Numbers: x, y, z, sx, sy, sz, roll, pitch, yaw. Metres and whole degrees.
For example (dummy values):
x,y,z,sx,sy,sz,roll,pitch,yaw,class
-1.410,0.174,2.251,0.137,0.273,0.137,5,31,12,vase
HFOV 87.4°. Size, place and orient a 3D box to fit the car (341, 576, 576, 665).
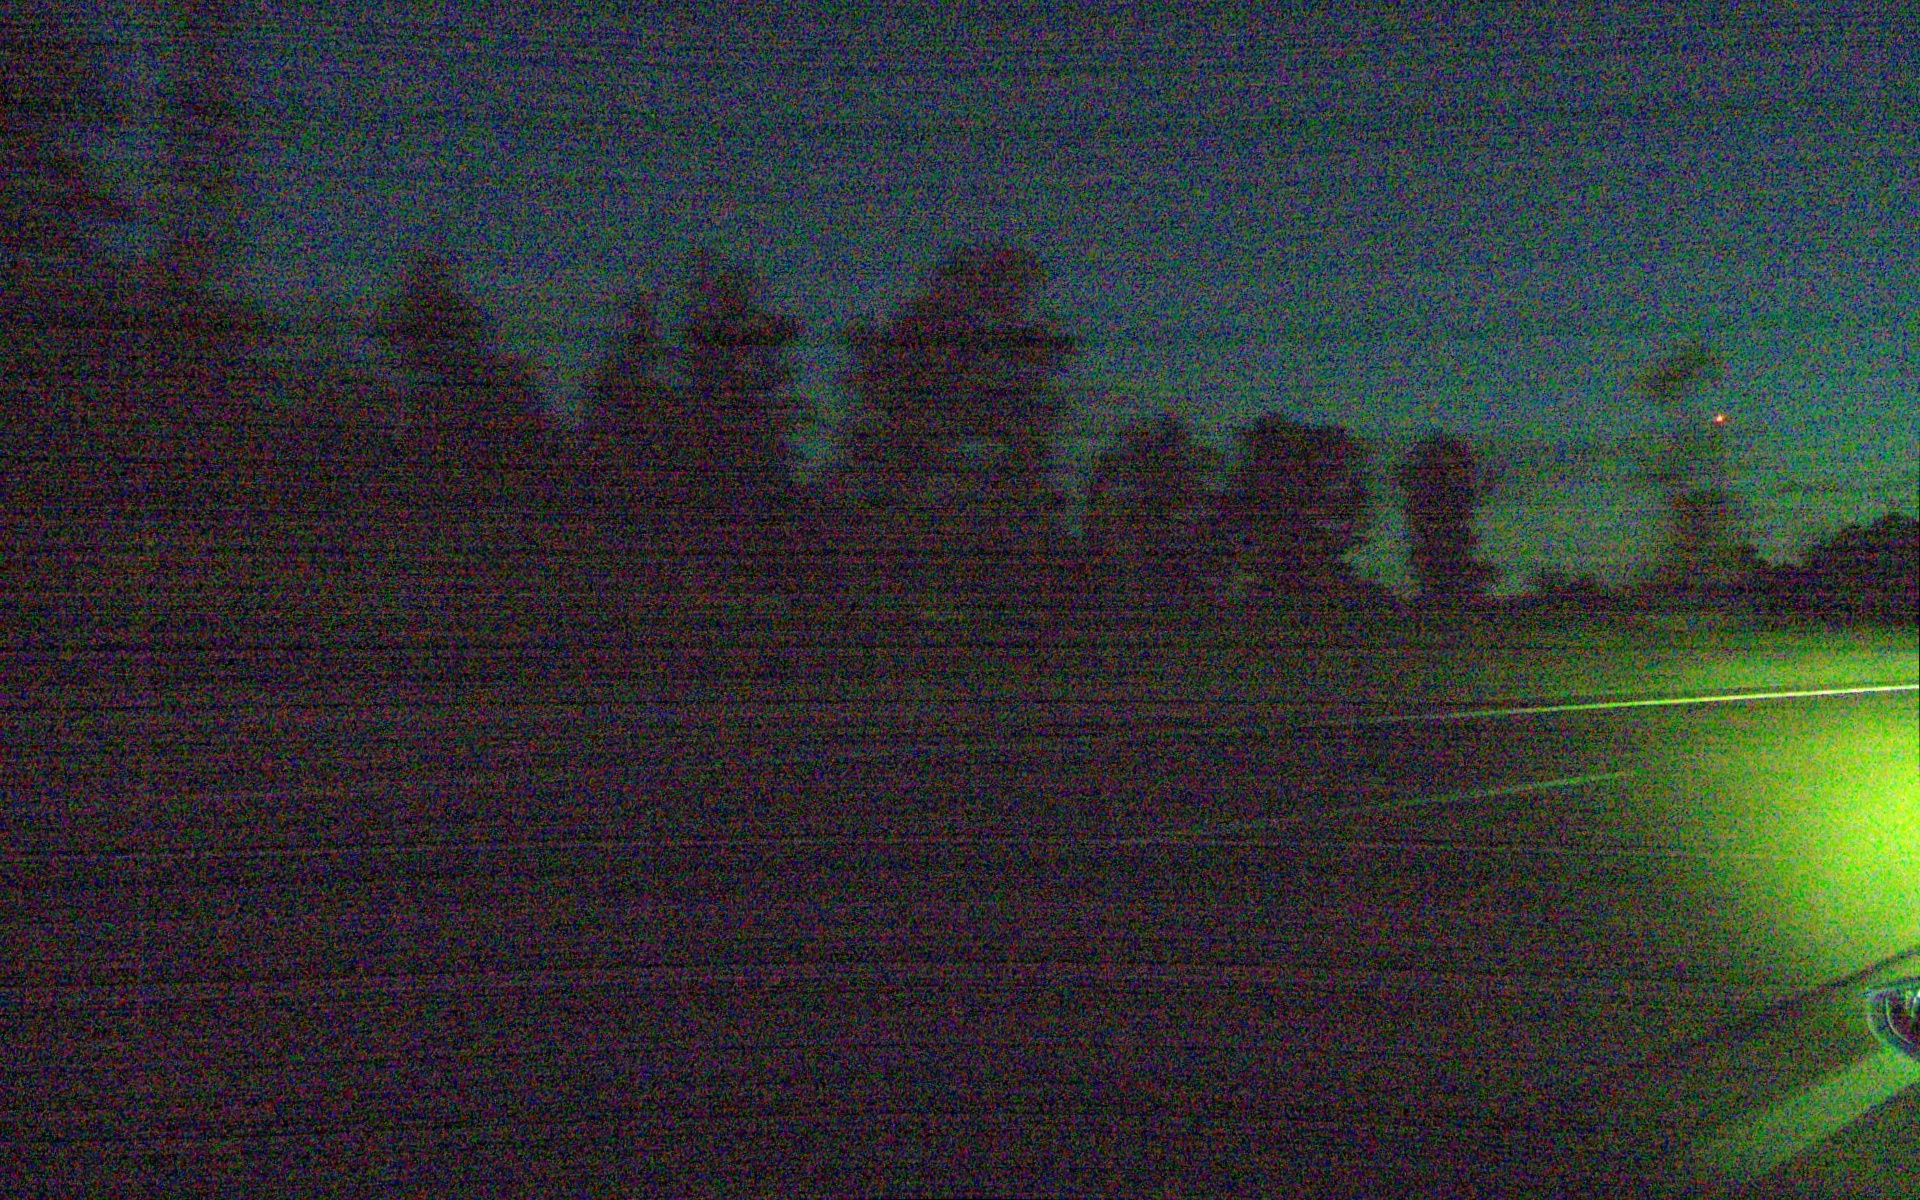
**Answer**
x,y,z,sx,sy,sz,roll,pitch,yaw,class
-9.796,0.397,19.758,3.952,1.582,1.887,1,0,-30,car
